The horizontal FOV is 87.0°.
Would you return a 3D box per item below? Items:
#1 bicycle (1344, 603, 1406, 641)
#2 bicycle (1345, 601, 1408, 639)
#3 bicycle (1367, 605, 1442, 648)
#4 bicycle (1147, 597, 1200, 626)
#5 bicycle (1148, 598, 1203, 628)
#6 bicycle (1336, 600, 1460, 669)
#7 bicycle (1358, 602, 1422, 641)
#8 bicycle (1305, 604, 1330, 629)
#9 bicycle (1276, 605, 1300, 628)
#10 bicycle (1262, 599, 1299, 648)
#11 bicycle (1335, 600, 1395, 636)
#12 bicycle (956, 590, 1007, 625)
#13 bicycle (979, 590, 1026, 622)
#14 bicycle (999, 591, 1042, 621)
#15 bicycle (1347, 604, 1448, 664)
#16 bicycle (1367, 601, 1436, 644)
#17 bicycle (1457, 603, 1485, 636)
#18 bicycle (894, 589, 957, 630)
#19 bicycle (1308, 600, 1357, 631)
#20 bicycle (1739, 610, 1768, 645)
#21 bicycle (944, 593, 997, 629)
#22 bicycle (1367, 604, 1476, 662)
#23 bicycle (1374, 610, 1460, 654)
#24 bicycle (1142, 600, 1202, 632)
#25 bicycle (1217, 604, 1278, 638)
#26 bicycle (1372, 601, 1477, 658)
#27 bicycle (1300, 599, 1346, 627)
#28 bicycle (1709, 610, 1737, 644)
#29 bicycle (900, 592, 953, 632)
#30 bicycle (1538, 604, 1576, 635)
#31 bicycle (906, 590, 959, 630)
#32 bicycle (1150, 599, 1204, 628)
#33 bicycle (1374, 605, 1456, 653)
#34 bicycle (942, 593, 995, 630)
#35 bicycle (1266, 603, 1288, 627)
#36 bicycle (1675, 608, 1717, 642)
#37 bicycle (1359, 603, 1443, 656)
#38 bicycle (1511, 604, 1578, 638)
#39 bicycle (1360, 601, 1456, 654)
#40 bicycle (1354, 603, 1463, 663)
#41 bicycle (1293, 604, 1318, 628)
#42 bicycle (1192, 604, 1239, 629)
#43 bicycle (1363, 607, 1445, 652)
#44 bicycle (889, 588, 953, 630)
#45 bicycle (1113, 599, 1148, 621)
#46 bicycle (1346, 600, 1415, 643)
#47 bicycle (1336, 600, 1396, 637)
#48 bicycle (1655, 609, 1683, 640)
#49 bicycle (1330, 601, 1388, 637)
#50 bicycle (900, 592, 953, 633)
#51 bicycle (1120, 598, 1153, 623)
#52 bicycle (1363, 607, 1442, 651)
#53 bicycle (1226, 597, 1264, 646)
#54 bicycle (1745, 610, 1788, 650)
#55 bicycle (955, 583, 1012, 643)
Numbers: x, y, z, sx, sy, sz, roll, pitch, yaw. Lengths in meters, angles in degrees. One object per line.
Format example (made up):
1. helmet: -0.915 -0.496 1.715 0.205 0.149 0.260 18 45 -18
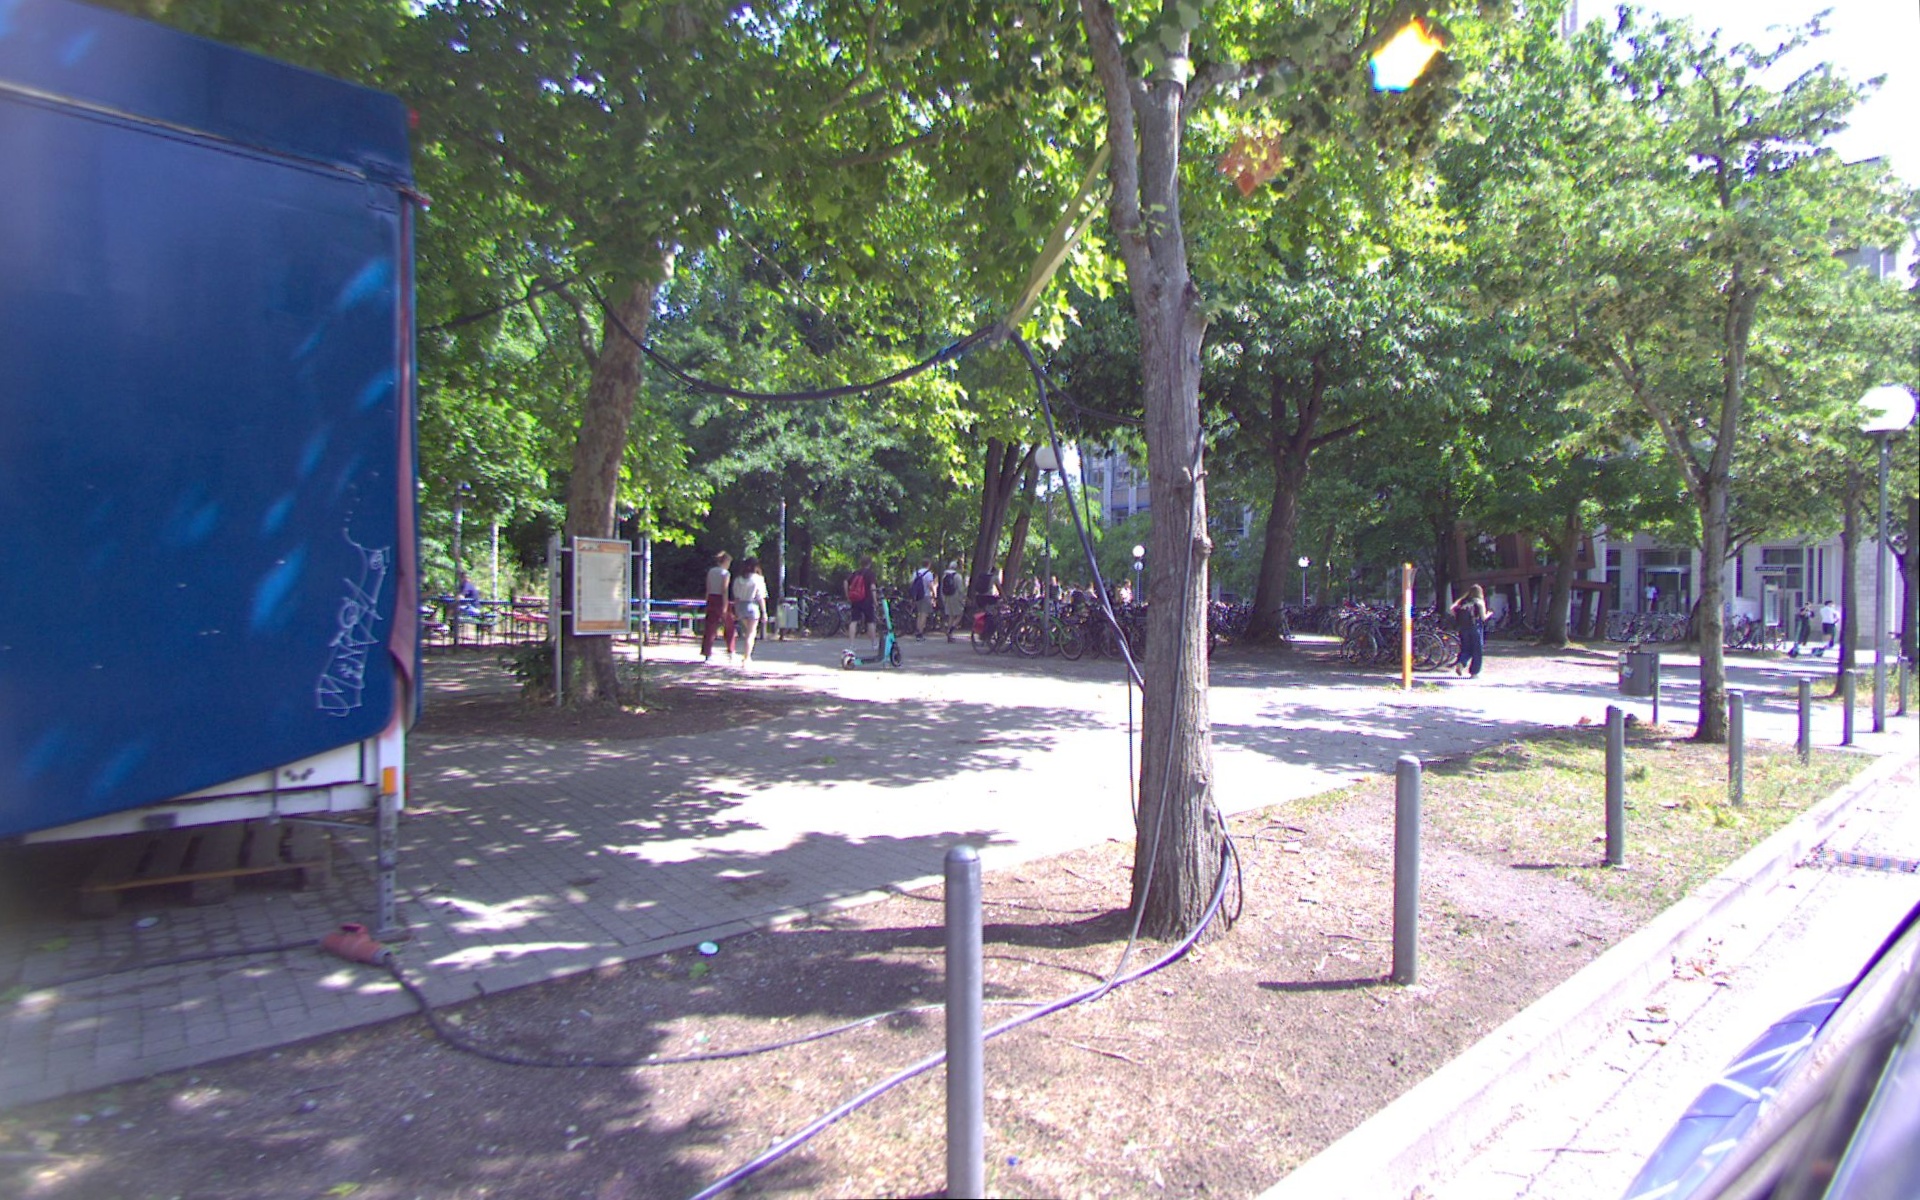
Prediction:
1. bicycle: 13.516 0.704 33.018 1.817 1.185 0.344 1 0 13
2. bicycle: 13.445 0.642 32.680 1.817 1.185 0.344 1 0 12
3. bicycle: 11.717 0.689 26.732 1.770 1.083 0.424 1 0 19
4. bicycle: 7.973 0.424 37.732 1.879 0.991 0.376 2 1 19
5. bicycle: 7.778 0.470 36.564 1.879 0.991 0.475 2 1 19
6. bicycle: 8.100 0.610 18.785 2.010 1.182 0.643 1 0 38
7. bicycle: 13.363 0.666 31.464 1.811 1.185 0.345 1 0 2
8. bicycle: 17.120 0.786 48.477 0.477 1.144 1.661 -3 -4 43
9. bicycle: 16.177 0.837 49.876 0.477 1.098 1.661 -3 -4 43
10. bicycle: 7.602 0.540 23.966 0.474 1.096 1.885 2 1 28
11. bicycle: 13.765 0.601 34.433 1.817 1.185 0.352 1 0 13
12. bicycle: 0.707 0.246 33.359 1.591 1.107 0.475 2 1 20
13. bicycle: 1.536 0.205 36.421 1.591 1.107 0.475 2 1 20
14. bicycle: 2.351 0.238 39.095 1.586 1.107 0.477 2 1 12
15. bicycle: 8.593 0.644 19.911 1.763 1.096 0.432 1 0 38
16. bicycle: 12.915 0.649 29.622 1.767 1.185 0.401 1 0 16
17. bicycle: 18.452 0.688 36.584 0.468 1.123 1.664 1 1 12
18. bicycle: -0.978 0.253 28.714 1.734 1.107 0.475 2 1 24
19. bicycle: 15.254 0.635 41.439 1.815 1.185 0.412 1 0 10
20. bicycle: 28.069 0.967 35.798 1.465 1.155 0.560 0 2 -44
21. bicycle: 0.333 0.339 32.398 1.591 1.107 0.475 2 1 20
22. bicycle: 9.276 0.646 20.389 1.939 1.096 0.399 1 0 38
23. bicycle: 10.391 0.720 23.060 1.717 0.921 0.491 1 0 20
24. bicycle: 6.984 0.522 33.357 1.879 0.991 0.376 2 1 19
25. bicycle: 9.299 0.671 32.751 1.879 0.991 0.376 2 1 19
26. bicycle: 9.617 0.587 21.009 1.939 1.096 0.399 1 0 38
27. bicycle: 15.908 0.578 44.401 1.815 1.185 0.412 1 0 10
28. bicycle: 27.651 0.975 36.667 1.465 1.155 0.560 3 0 -44
29. bicycle: -0.991 0.347 29.451 1.598 1.107 0.344 2 1 31
30. bicycle: 22.647 0.746 38.356 1.792 1.091 0.464 3 0 -34
31. bicycle: -0.804 0.273 29.757 1.598 1.107 0.344 2 1 31
32. bicycle: 7.914 0.481 36.956 1.879 0.991 0.376 2 1 19
33. bicycle: 10.860 0.681 24.196 1.712 1.066 0.492 1 0 13
34. bicycle: 0.260 0.346 32.024 1.591 1.107 0.475 2 1 20
35. bicycle: 14.823 0.713 47.340 0.352 1.097 1.448 0 -1 45
36. bicycle: 26.931 0.933 37.023 1.494 1.155 0.493 3 0 -22
37. bicycle: 10.284 0.684 23.622 1.712 1.170 0.492 1 0 13
38. bicycle: 20.446 0.732 35.428 1.895 1.123 0.630 1 1 13
39. bicycle: 9.774 0.587 22.122 1.895 1.073 0.322 1 0 27
40. bicycle: 8.902 0.641 20.142 1.939 1.096 0.399 1 0 38
41. bicycle: 16.730 0.787 48.956 0.477 1.144 1.661 -3 -4 43
42. bicycle: 10.857 0.681 43.064 1.867 0.991 0.479 2 1 0
43. bicycle: 10.815 0.711 24.703 1.772 1.041 0.438 1 0 18
44. bicycle: -1.107 0.255 28.392 1.734 1.107 0.475 2 1 24
45. bicycle: 8.651 0.493 51.357 1.655 1.098 0.479 0 -3 -2
46. bicycle: 12.206 0.612 29.401 1.767 1.185 0.401 1 0 16
47. bicycle: 13.650 0.605 34.076 1.817 1.185 0.352 1 0 13
48. bicycle: 26.546 0.926 37.893 1.447 1.099 0.460 3 0 -40
49. bicycle: 13.879 0.644 35.217 1.817 1.185 0.352 1 0 13
50. bicycle: -0.979 0.349 29.445 1.598 1.107 0.344 2 1 31
51. bicycle: 8.013 0.474 45.945 1.441 1.098 0.353 1 -3 -12
52. bicycle: 11.158 0.732 25.541 1.769 1.041 0.380 1 0 18
53. bicycle: 6.835 0.489 24.239 0.474 1.096 1.885 2 1 28
54. bicycle: 24.394 0.899 30.625 0.622 1.097 1.674 -1 1 25
55. bicycle: 0.551 0.278 22.758 0.526 1.268 1.720 3 1 28
